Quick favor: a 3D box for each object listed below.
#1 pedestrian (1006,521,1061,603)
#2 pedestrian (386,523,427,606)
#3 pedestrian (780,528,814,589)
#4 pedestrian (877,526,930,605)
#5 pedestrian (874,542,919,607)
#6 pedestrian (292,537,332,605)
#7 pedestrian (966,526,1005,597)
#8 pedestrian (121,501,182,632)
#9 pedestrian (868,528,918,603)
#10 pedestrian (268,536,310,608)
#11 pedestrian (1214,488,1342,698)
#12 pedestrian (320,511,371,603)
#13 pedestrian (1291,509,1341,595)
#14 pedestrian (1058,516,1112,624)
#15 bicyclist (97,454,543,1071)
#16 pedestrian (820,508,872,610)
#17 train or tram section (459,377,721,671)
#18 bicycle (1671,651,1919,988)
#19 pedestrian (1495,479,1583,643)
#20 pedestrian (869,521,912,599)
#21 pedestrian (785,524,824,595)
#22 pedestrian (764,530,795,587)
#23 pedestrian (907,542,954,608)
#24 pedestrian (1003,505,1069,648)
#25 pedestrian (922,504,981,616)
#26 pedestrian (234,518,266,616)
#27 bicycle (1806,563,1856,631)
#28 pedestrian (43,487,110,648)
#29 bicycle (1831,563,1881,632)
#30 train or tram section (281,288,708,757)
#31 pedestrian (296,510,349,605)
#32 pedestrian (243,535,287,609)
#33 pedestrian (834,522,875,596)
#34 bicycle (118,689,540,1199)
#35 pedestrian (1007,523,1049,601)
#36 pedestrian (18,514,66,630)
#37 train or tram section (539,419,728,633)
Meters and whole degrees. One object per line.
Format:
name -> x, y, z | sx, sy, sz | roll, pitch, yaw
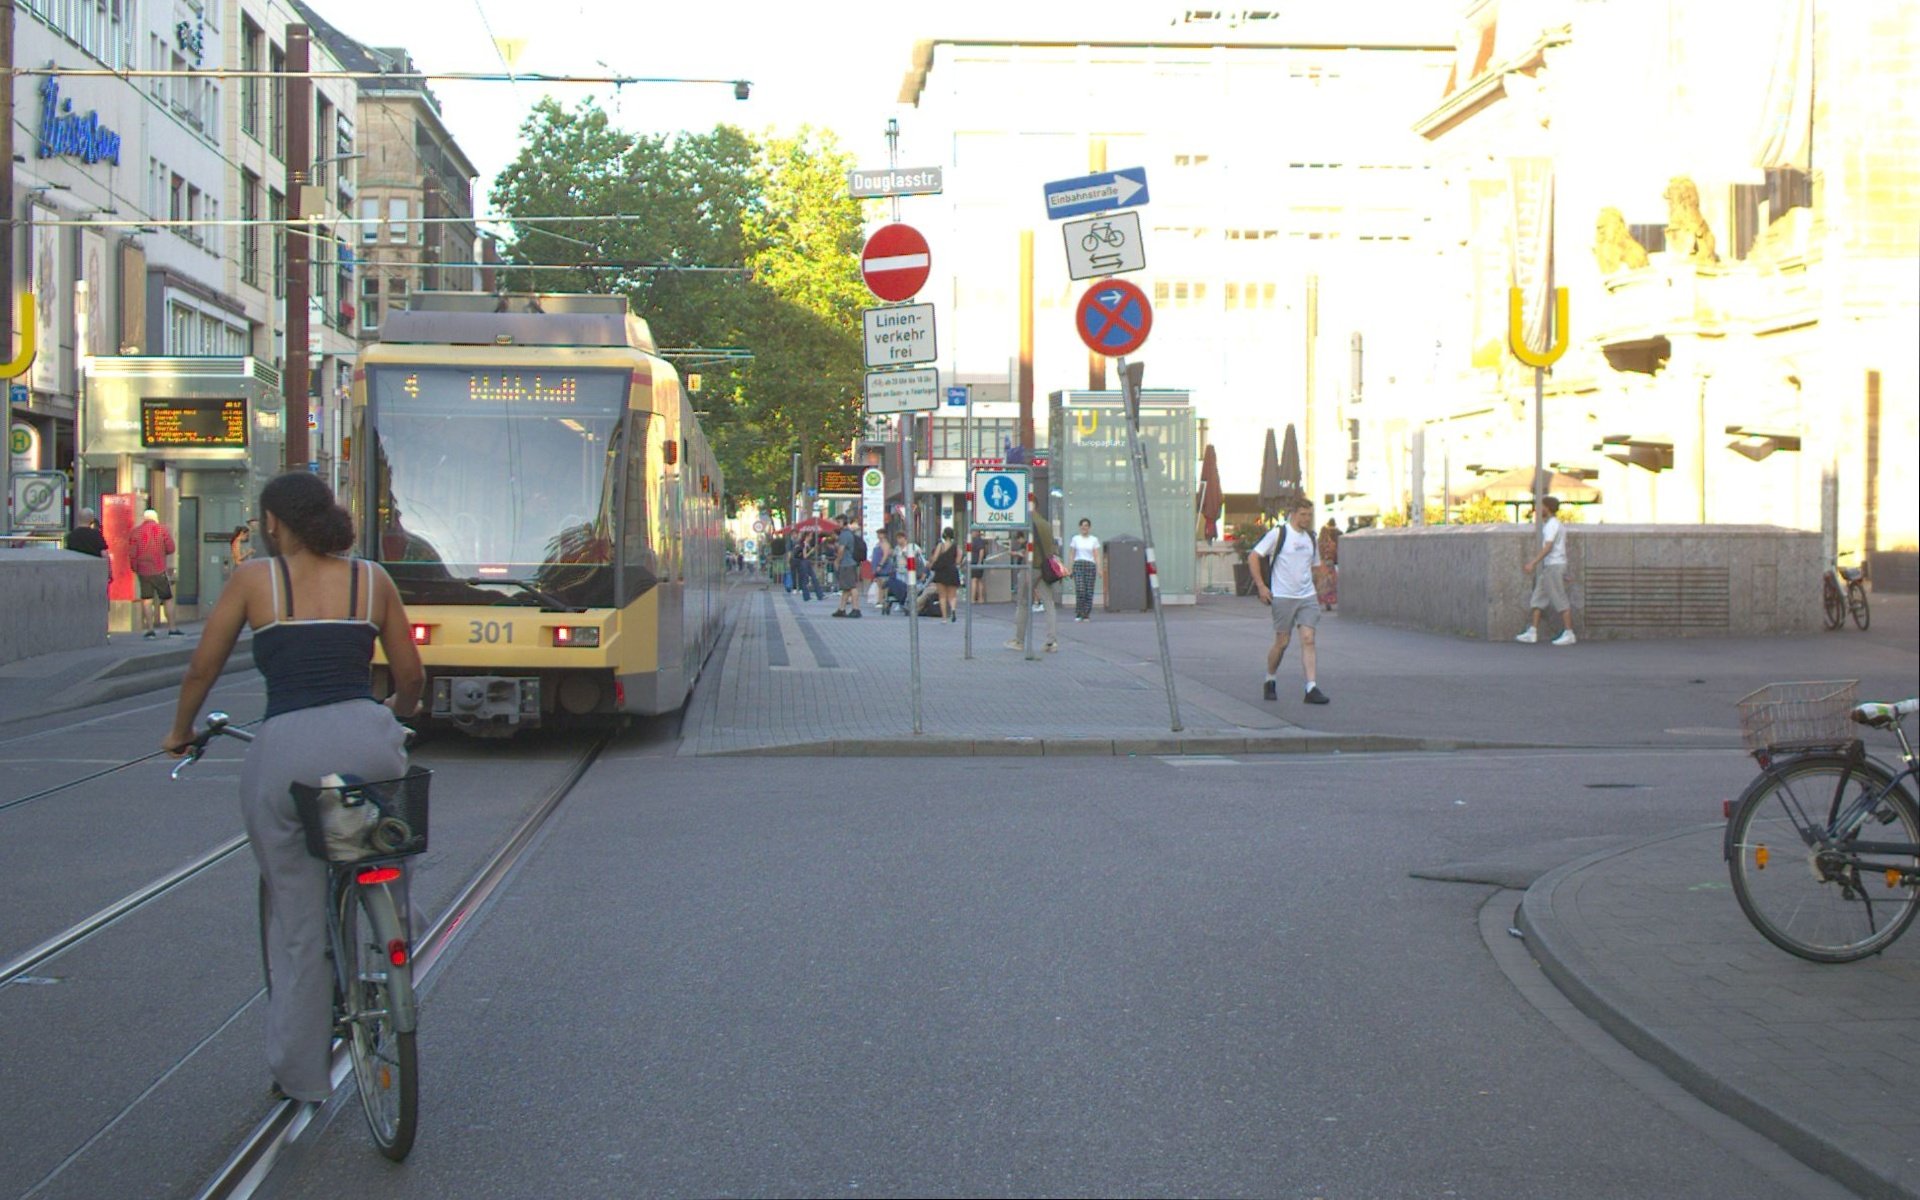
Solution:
pedestrian -> 1.490, -0.770, 69.506 | 0.767, 1.655, 0.794 | -1, 1, -44
pedestrian -> -11.591, -0.740, 72.026 | 0.773, 1.719, 0.709 | 0, 0, -3
pedestrian -> -4.516, -1.150, 95.226 | 0.792, 1.655, 0.769 | 0, 1, 9
pedestrian -> -1.136, -0.694, 68.965 | 0.768, 1.573, 0.793 | 1, 1, 26
pedestrian -> -1.208, -0.494, 65.483 | 0.792, 1.217, 0.769 | 0, 1, -7
pedestrian -> -13.157, -0.582, 69.799 | 0.707, 1.374, 0.720 | 0, 0, -4
pedestrian -> 0.602, -0.911, 80.838 | 0.792, 1.655, 0.769 | 0, 1, 9
pedestrian -> -10.512, -0.430, 44.690 | 0.713, 1.692, 0.786 | 0, 0, -9
pedestrian -> -1.417, -0.745, 73.069 | 0.768, 1.573, 0.793 | 1, 1, 26
pedestrian -> -12.981, -0.543, 66.546 | 0.707, 1.374, 0.720 | 0, 0, -4
pedestrian -> 2.878, -0.068, 31.228 | 1.013, 1.857, 1.043 | 1, 0, -2
pedestrian -> -11.549, -0.809, 64.585 | 0.707, 1.719, 0.775 | 0, 0, -32
pedestrian -> 7.551, -1.026, 72.934 | 0.847, 1.817, 0.776 | 0, 1, -11
pedestrian -> 2.138, -0.513, 58.858 | 0.773, 1.817, 0.940 | -1, 1, -6
bicyclist -> -1.674, 0.395, 8.898 | 0.996, 1.497, 0.857 | 1, 1, -18
pedestrian -> -2.042, -0.745, 61.662 | 0.733, 1.817, 0.820 | 0, 1, -17
train or tram section -> -4.675, -0.999, 46.020 | 2.800, 3.308, 14.510 | 0, 1, -3
bicycle -> 3.524, 0.744, 12.141 | 1.852, 1.105, 0.667 | -1, 1, -5
pedestrian -> 7.203, -0.486, 42.825 | 0.914, 2.007, 0.773 | 1, 0, -2
pedestrian -> -1.468, -0.854, 72.934 | 0.792, 1.655, 0.769 | 0, 1, 9
pedestrian -> -3.653, -0.965, 80.986 | 0.767, 1.655, 0.794 | 0, 1, 9
pedestrian -> -5.276, -1.224, 100.571 | 0.767, 1.655, 0.794 | 0, 1, 6
pedestrian -> -0.562, -0.476, 64.708 | 0.792, 1.217, 0.769 | 0, 1, -7
pedestrian -> 0.915, -0.288, 41.676 | 0.718, 1.719, 0.709 | 0, 0, -6
pedestrian -> -0.143, -0.655, 56.239 | 0.733, 1.817, 0.820 | 0, 1, -17
pedestrian -> -11.732, -0.543, 56.777 | 0.511, 1.612, 0.505 | 0, 0, -12
bicycle -> 11.336, -0.042, 44.744 | 0.315, 0.864, 1.000 | -1, 1, -4
pedestrian -> -10.660, -0.392, 41.498 | 0.713, 1.918, 0.709 | 0, 0, -8
bicycle -> 11.661, -0.038, 44.762 | 0.315, 0.864, 1.000 | -1, 1, -4
train or tram section -> -3.814, -0.693, 31.534 | 2.800, 3.308, 14.510 | 0, 1, -3
pedestrian -> -11.638, -0.766, 62.722 | 0.707, 1.719, 0.775 | 0, 0, -34
pedestrian -> -13.026, -0.520, 64.441 | 0.707, 1.374, 0.720 | 0, 0, -4
pedestrian -> -2.372, -0.921, 77.690 | 0.792, 1.655, 0.769 | 0, 1, 9
bicycle -> -1.700, 0.827, 8.961 | 0.814, 1.069, 2.114 | 1, 1, -17
pedestrian -> 1.451, -0.812, 73.212 | 0.792, 1.655, 0.769 | 0, 1, 9
pedestrian -> -12.570, -0.379, 47.086 | 0.603, 1.583, 0.628 | 0, 0, -12
train or tram section -> -5.544, -1.294, 60.515 | 2.800, 3.308, 14.510 | 0, 1, -3
